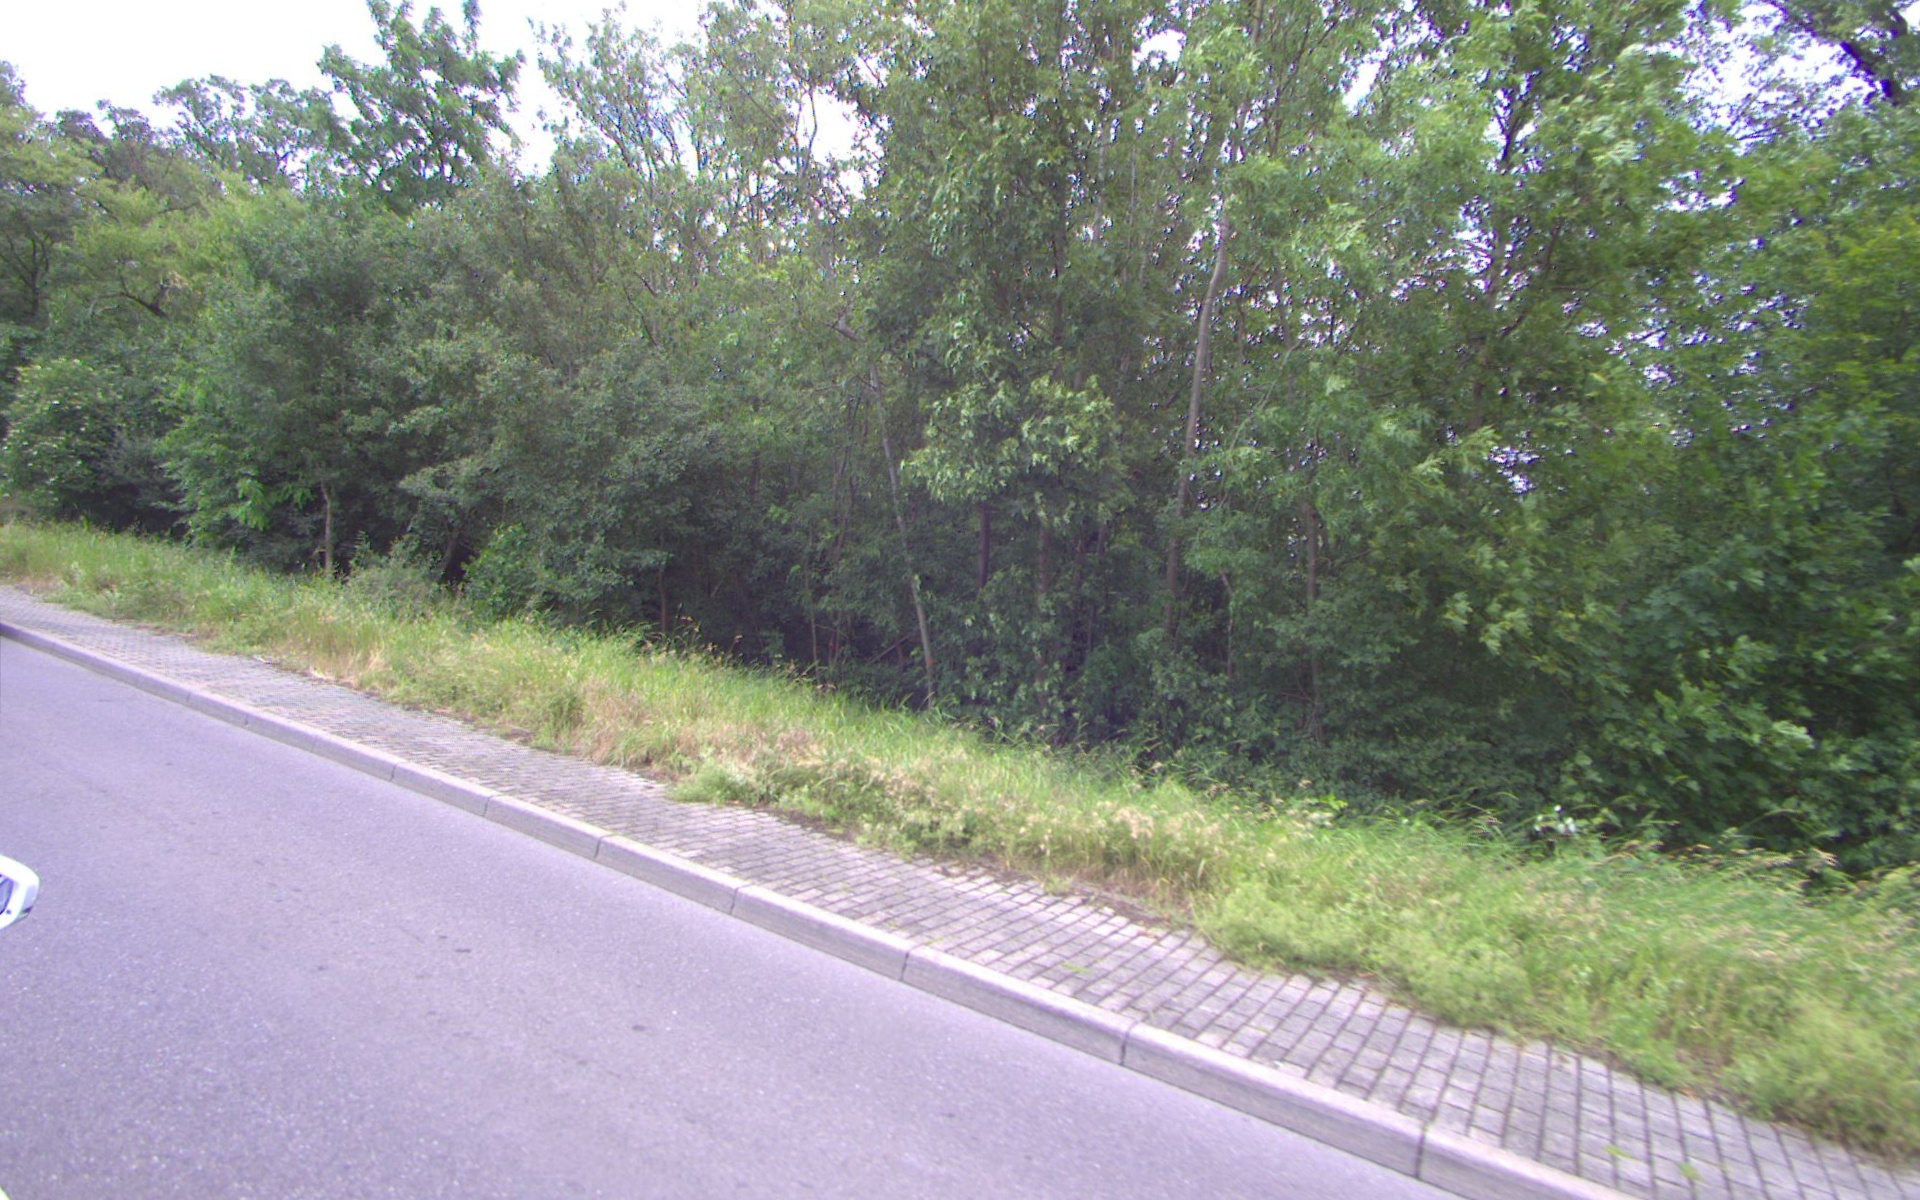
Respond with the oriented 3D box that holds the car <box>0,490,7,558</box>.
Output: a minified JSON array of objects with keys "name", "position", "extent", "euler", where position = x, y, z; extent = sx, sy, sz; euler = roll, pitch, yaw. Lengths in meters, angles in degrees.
[{"name":"car","position":[-11.275,-0.571,9.889],"extent":[3.934,1.468,1.794],"euler":[7,0,33]}]
